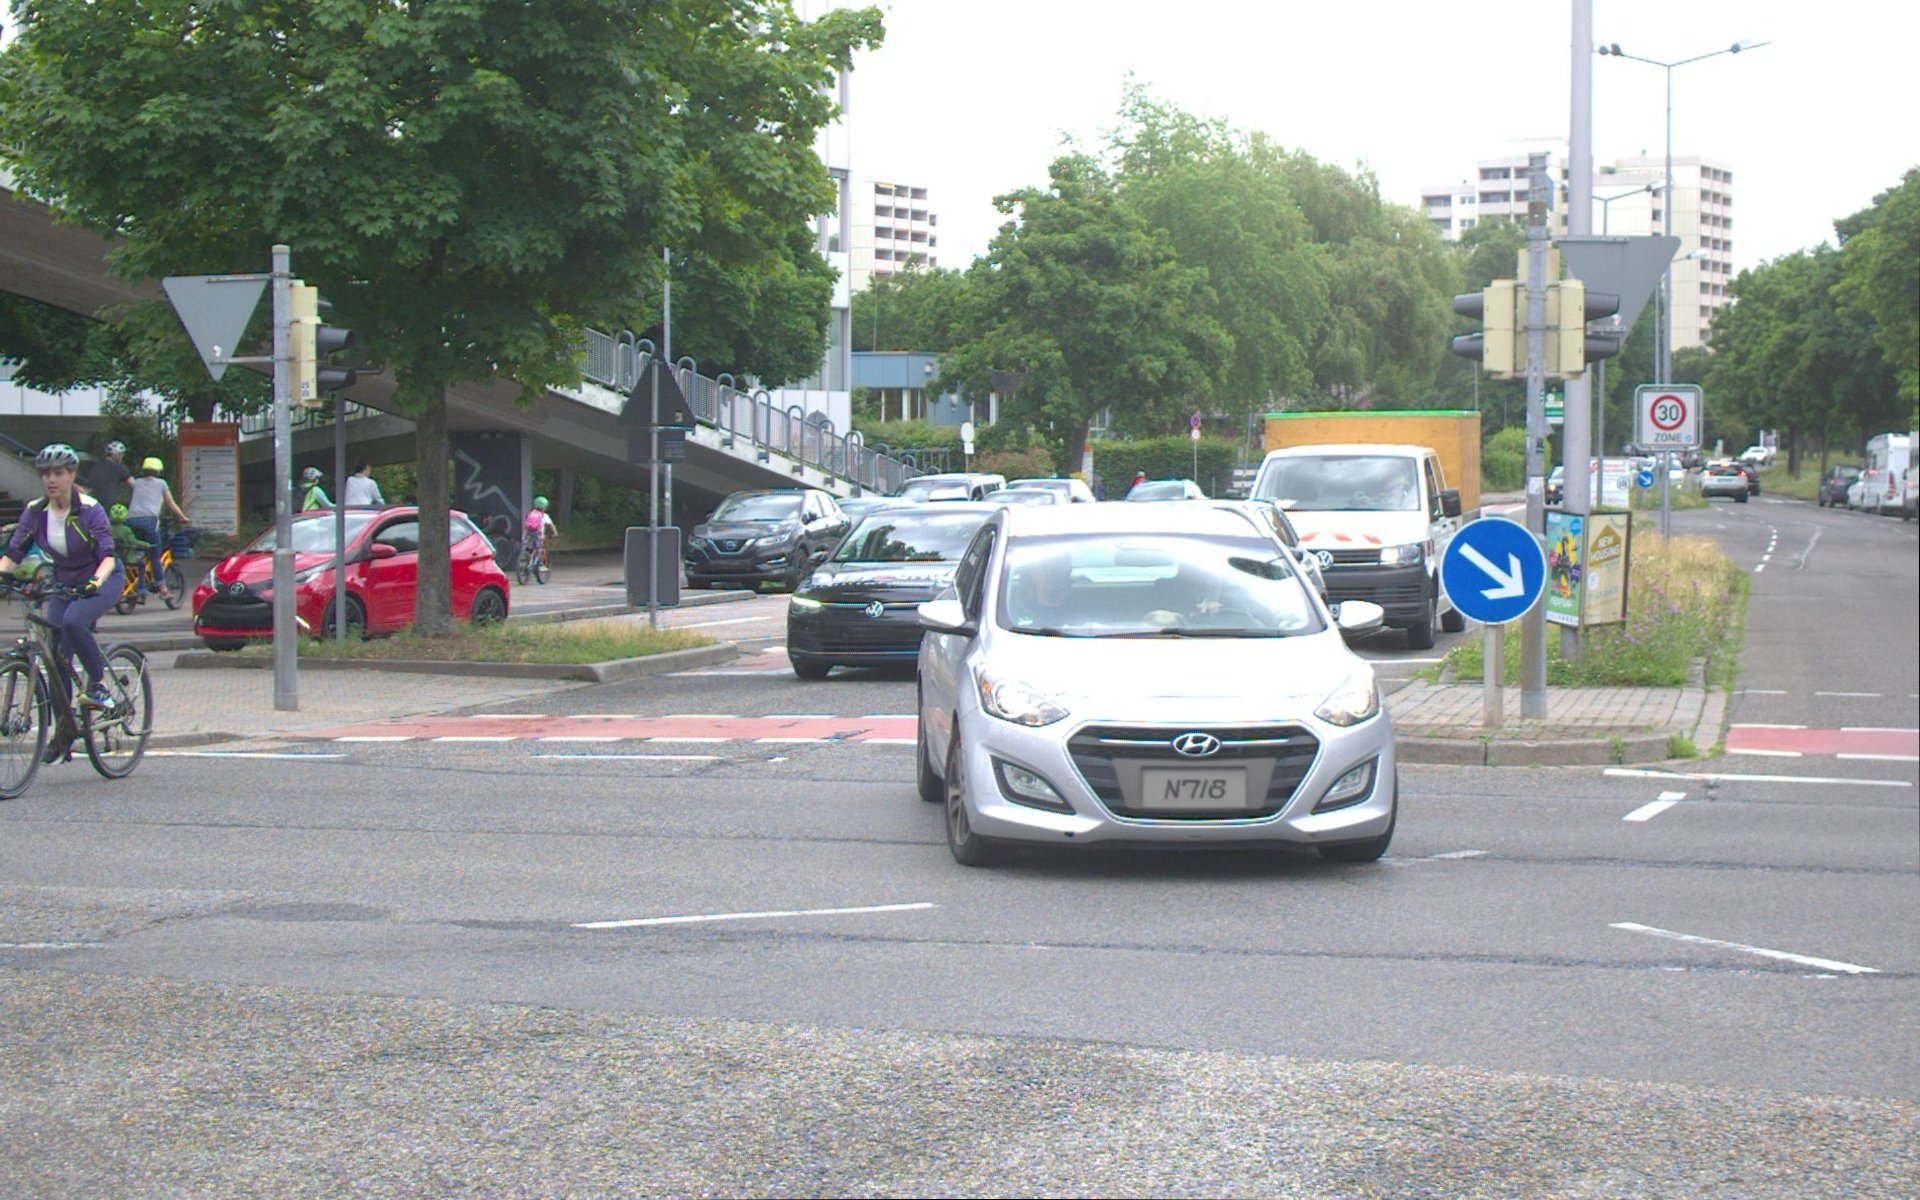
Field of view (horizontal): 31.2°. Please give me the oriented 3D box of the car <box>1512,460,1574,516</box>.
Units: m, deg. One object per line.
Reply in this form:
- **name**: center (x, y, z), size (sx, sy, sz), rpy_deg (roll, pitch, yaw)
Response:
- **car**: center (21.301, -4.109, 125.476), size (1.995, 2.006, 3.998), rpy_deg (1, 2, 13)

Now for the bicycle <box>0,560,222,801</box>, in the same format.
- **bicycle**: center (-4.631, 0.375, 17.813), size (0.727, 1.097, 2.263), rpy_deg (1, 2, 12)

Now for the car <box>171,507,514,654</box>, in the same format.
- **car**: center (-6.139, -0.237, 34.484), size (1.514, 1.385, 3.527), rpy_deg (1, 2, 29)

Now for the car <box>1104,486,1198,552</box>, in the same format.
- **car**: center (4.694, -2.008, 83.971), size (1.672, 1.546, 3.998), rpy_deg (1, 2, 13)

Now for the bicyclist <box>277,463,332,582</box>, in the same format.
- **bicyclist**: center (-9.148, -1.081, 47.953), size (0.565, 1.638, 0.531), rpy_deg (1, 2, 19)

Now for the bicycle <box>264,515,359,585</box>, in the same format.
- **bicycle**: center (-9.077, -0.712, 48.186), size (0.527, 0.945, 1.707), rpy_deg (1, 2, 19)

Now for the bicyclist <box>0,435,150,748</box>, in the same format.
- **bicyclist**: center (-4.673, -0.055, 17.845), size (0.679, 1.589, 0.695), rpy_deg (1, 2, 12)

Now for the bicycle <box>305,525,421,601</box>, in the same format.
- **bicycle**: center (-7.830, -0.498, 45.164), size (0.762, 0.945, 1.952), rpy_deg (1, 2, 14)

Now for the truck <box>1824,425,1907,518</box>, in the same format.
- **truck**: center (29.823, -4.216, 113.358), size (1.994, 2.998, 5.770), rpy_deg (0, 2, 9)

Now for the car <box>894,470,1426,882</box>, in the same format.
- **car**: center (0.729, 0.215, 15.348), size (1.789, 1.513, 4.327), rpy_deg (0, 3, -4)

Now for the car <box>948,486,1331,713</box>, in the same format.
- **car**: center (1.382, -0.086, 24.305), size (1.898, 1.415, 4.734), rpy_deg (1, 2, 13)

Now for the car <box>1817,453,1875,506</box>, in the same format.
- **car**: center (33.185, -4.535, 128.817), size (1.652, 1.911, 3.918), rpy_deg (0, 3, 8)

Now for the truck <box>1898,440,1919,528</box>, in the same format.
- **truck**: center (29.269, -3.428, 102.454), size (1.994, 2.564, 5.376), rpy_deg (1, 2, 10)

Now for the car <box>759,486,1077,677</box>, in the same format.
- **car**: center (-0.267, -0.220, 29.240), size (1.771, 1.472, 4.388), rpy_deg (1, 2, 12)

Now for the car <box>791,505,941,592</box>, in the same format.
- **car**: center (-1.586, -0.912, 59.123), size (1.672, 1.382, 3.893), rpy_deg (1, 2, 13)

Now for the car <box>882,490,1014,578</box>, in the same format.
- **car**: center (-0.193, -1.256, 64.262), size (1.672, 1.546, 3.760), rpy_deg (1, 2, 13)

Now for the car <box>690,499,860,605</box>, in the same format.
- **car**: center (-2.856, -0.781, 53.780), size (1.672, 1.546, 3.890), rpy_deg (1, 2, 13)

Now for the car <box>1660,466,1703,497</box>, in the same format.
- **car**: center (35.211, -5.780, 167.737), size (2.021, 1.500, 3.998), rpy_deg (1, 2, 12)

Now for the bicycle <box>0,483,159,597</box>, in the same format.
- **bicycle**: center (-11.156, -0.778, 42.942), size (0.856, 1.310, 3.228), rpy_deg (1, 3, 14)

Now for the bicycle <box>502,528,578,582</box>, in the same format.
- **bicycle**: center (-6.308, -0.683, 51.714), size (0.510, 0.775, 1.840), rpy_deg (1, 2, 14)

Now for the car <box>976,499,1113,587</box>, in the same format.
- **car**: center (1.377, -0.930, 55.068), size (1.559, 1.341, 2.970), rpy_deg (1, 2, 15)

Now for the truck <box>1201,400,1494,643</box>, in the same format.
- **truck**: center (3.952, -0.836, 34.102), size (2.157, 2.191, 5.837), rpy_deg (1, 2, 14)

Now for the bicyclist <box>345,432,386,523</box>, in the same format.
- **bicyclist**: center (-7.791, -1.604, 45.053), size (0.405, 1.177, 0.377), rpy_deg (2, 3, 14)

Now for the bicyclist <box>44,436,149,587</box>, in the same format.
- **bicyclist**: center (-10.973, -1.140, 43.724), size (0.856, 1.886, 1.127), rpy_deg (1, 3, 14)

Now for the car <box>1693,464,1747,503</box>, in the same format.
- **car**: center (30.042, -4.626, 135.973), size (2.021, 1.500, 3.998), rpy_deg (1, 2, 12)

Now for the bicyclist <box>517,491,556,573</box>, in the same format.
- **bicyclist**: center (-6.360, -1.028, 51.613), size (0.431, 1.213, 0.567), rpy_deg (1, 2, 11)
